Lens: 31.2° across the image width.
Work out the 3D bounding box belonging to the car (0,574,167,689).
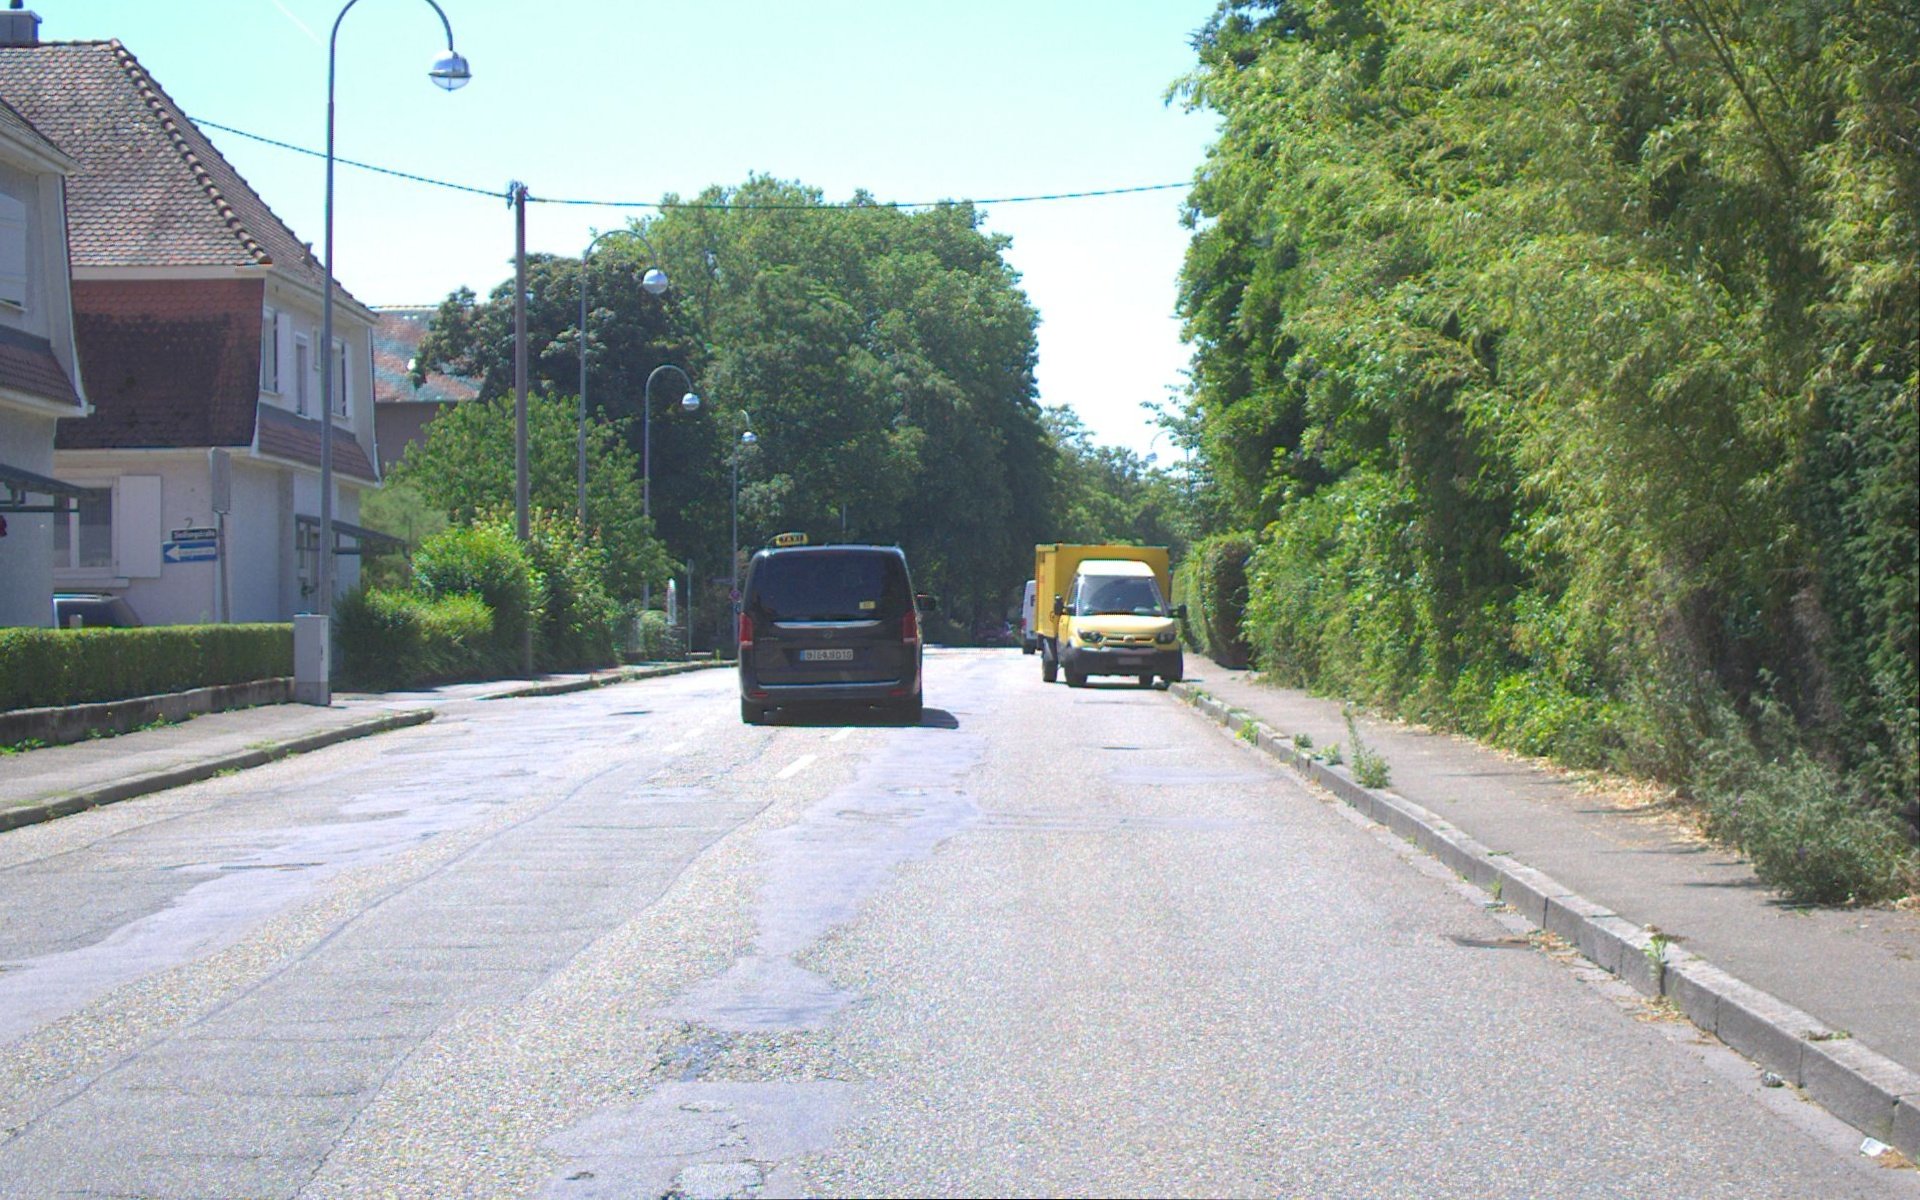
[{"bbox_3d":[-13.832,0.469,50.584,3.867,1.636,1.880,-1,0,1],"label":"car"}]

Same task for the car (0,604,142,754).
[{"bbox_3d":[-12.936,1.037,45.212,3.867,1.898,1.880,-1,0,1],"label":"car"}]

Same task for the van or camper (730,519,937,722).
[{"bbox_3d":[-1.286,0.208,37.092,1.903,2.007,5.270,1,0,1],"label":"van or camper"}]

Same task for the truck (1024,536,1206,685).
[{"bbox_3d":[2.406,0.166,55.013,2.355,2.251,6.092,0,0,-3],"label":"truck"}]

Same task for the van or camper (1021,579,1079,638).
[{"bbox_3d":[3.105,0.286,119.263,1.993,2.007,4.000,0,0,1],"label":"van or camper"}]
